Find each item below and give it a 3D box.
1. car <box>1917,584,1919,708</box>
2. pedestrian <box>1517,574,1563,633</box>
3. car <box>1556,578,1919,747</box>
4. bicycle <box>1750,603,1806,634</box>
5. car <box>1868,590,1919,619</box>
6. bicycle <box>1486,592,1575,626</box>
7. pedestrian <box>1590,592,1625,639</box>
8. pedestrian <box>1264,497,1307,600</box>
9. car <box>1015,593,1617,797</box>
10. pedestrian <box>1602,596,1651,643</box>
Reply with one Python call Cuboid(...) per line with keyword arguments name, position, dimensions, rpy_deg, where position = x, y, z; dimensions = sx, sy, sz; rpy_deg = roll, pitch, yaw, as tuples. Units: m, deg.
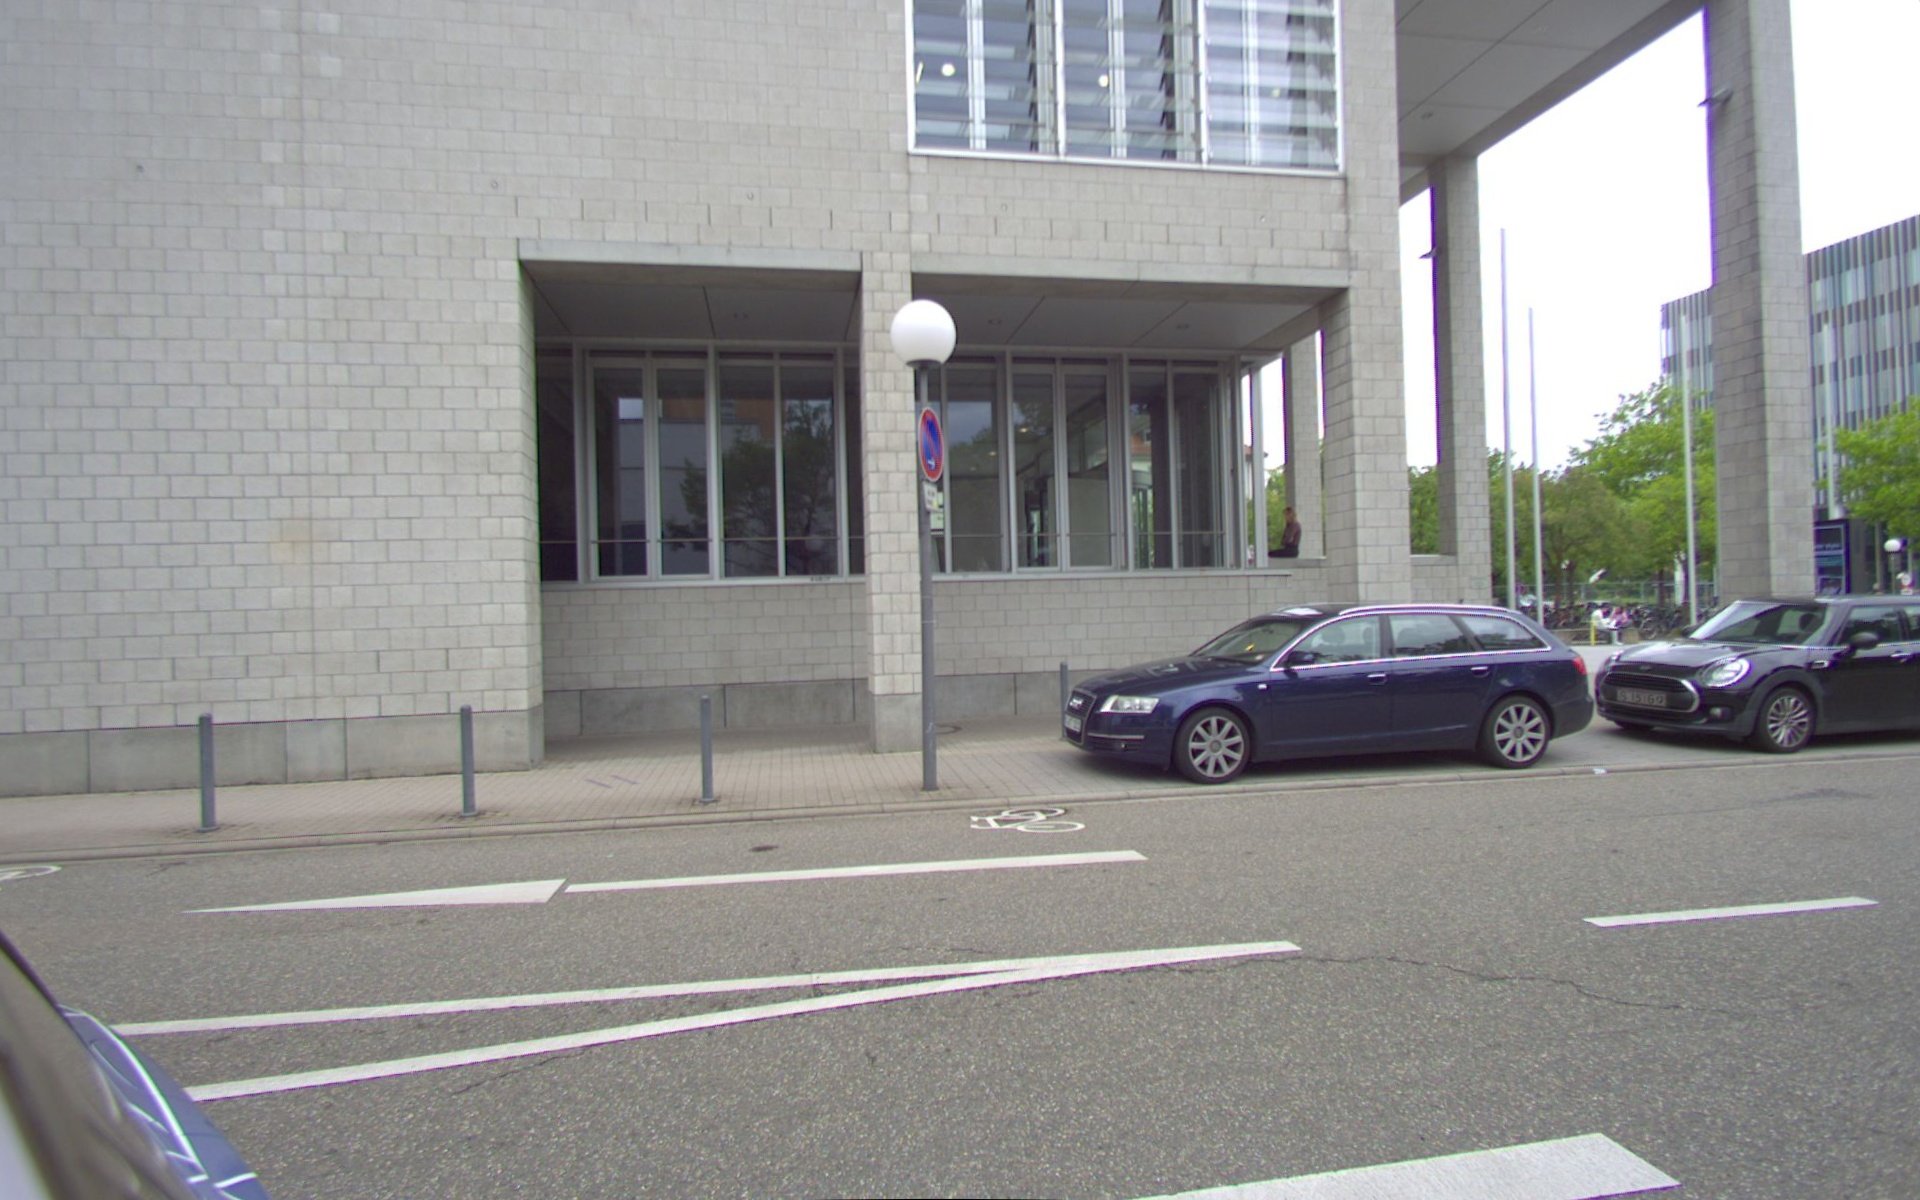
Cuboid(name="car", position=(13.518, 0.516, 11.265), dimensions=(4.347, 1.453, 1.858), rpy_deg=(0, -1, -9))
Cuboid(name="pedestrian", position=(17.205, 0.088, 30.017), dimensions=(0.953, 1.717, 0.854), rpy_deg=(-1, 0, -39))
Cuboid(name="car", position=(8.783, 0.533, 10.412), dimensions=(4.446, 1.454, 1.828), rpy_deg=(-1, 1, -11))
Cuboid(name="bicycle", position=(28.961, 0.663, 35.836), dimensions=(1.903, 1.057, 0.458), rpy_deg=(-1, 0, -14))
Cuboid(name="car", position=(50.853, 0.200, 52.838), dimensions=(1.967, 1.453, 4.851), rpy_deg=(-1, -1, -12))
Cuboid(name="bicycle", position=(21.516, 0.350, 38.208), dimensions=(3.058, 1.179, 0.749), rpy_deg=(-2, -1, -8))
Cuboid(name="pedestrian", position=(19.921, 0.473, 31.151), dimensions=(0.758, 1.424, 0.674), rpy_deg=(-1, -1, -42))
Cuboid(name="pedestrian", position=(5.483, -0.846, 17.097), dimensions=(0.625, 1.671, 0.803), rpy_deg=(0, -3, 15))
Cuboid(name="car", position=(3.136, 0.765, 9.395), dimensions=(4.843, 1.463, 2.004), rpy_deg=(-2, -1, -10))
Cuboid(name="pedestrian", position=(20.816, 0.603, 31.617), dimensions=(0.952, 1.431, 0.855), rpy_deg=(-2, -1, -21))
